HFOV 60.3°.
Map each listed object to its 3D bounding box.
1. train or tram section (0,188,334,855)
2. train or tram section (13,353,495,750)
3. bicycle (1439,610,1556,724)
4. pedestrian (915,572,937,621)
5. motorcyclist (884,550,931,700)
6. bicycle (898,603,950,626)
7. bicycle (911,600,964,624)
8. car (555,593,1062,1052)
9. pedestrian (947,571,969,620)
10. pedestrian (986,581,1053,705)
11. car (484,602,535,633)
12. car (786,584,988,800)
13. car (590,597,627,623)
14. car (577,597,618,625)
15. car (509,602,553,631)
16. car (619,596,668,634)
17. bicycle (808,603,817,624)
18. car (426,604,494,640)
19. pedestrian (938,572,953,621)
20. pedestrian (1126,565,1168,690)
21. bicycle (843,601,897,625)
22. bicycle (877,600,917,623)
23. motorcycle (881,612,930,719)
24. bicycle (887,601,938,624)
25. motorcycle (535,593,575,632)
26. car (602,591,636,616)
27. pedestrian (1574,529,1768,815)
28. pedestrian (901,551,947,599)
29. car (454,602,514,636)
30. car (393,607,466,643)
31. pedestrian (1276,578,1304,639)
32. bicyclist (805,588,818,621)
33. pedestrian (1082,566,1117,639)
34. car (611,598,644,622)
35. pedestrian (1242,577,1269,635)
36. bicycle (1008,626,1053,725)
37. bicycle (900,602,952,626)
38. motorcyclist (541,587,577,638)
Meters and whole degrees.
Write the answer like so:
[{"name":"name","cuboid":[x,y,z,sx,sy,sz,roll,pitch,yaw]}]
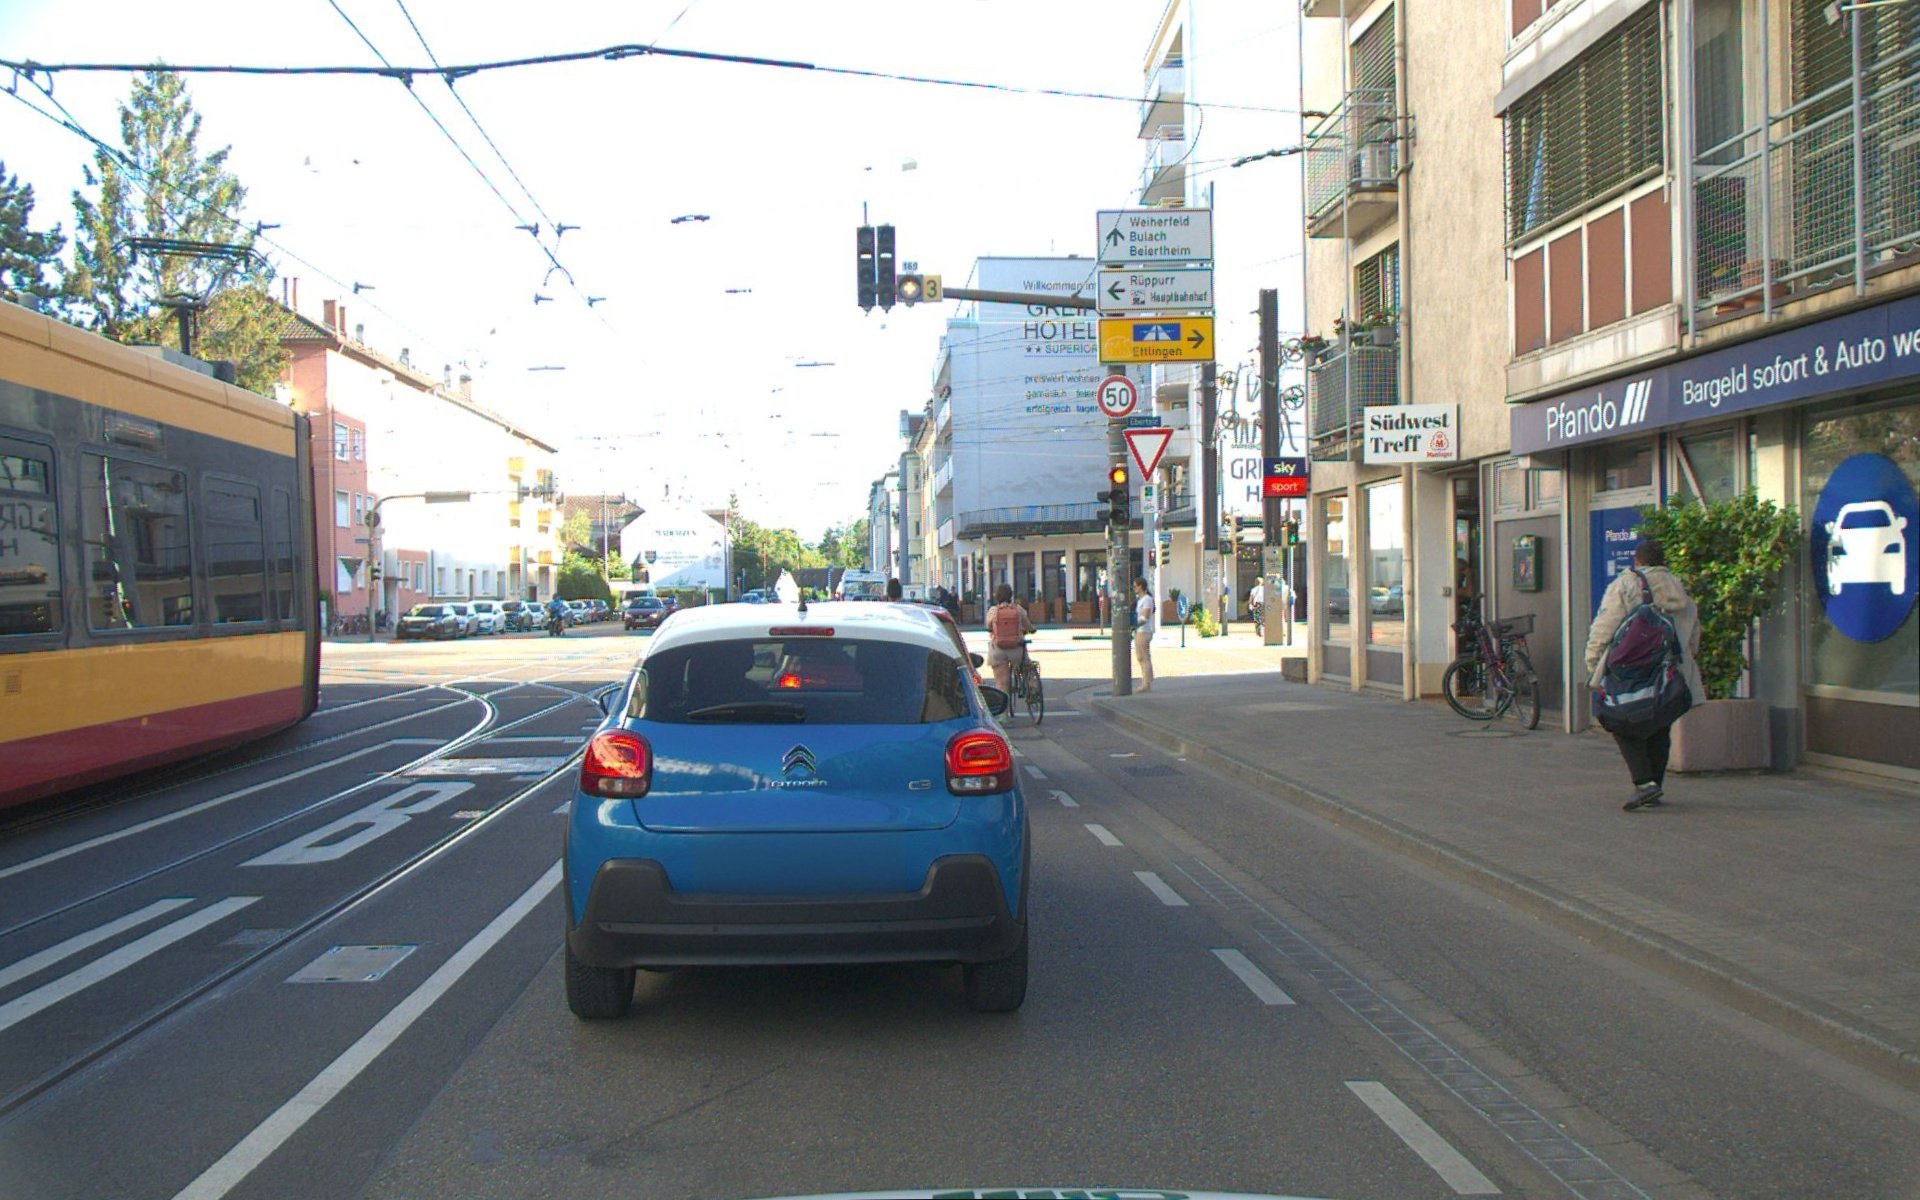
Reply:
[{"name":"train or tram section","cuboid":[-6.787,-0.409,9.289,3.003,3.656,12.613,-1,0,-6]},{"name":"train or tram section","cuboid":[-7.919,-0.447,20.145,2.771,3.694,9.072,1,0,-6]},{"name":"bicycle","cuboid":[5.100,0.612,15.786,0.531,1.016,1.705,1,0,-1]},{"name":"pedestrian","cuboid":[-1.426,-0.135,69.129,0.625,2.049,0.715,1,-1,-37]},{"name":"motorcyclist","cuboid":[-0.614,0.292,19.595,0.516,1.746,0.717,1,-1,-1]},{"name":"bicycle","cuboid":[-1.462,0.579,67.594,2.093,0.917,0.366,1,-1,-10]},{"name":"bicycle","cuboid":[-0.899,0.488,65.978,2.093,0.917,0.366,1,-1,-10]},{"name":"car","cuboid":[-0.515,0.731,7.135,1.620,1.469,3.522,1,0,-1]},{"name":"pedestrian","cuboid":[-0.081,-0.198,70.514,0.698,2.049,0.755,1,-1,-19]},{"name":"pedestrian","cuboid":[0.719,0.520,20.223,0.761,1.486,0.681,1,-1,-1]},{"name":"car","cuboid":[-23.288,0.891,85.690,1.750,1.524,3.997,1,0,-4]},{"name":"car","cuboid":[-0.537,0.659,13.132,1.395,1.493,2.923,-1,0,-1]},{"name":"car","cuboid":[-23.580,0.680,110.979,1.845,1.716,3.997,1,0,-4]},{"name":"car","cuboid":[-23.123,0.701,105.724,1.944,1.716,3.997,1,0,-4]},{"name":"car","cuboid":[-23.758,0.917,91.768,1.699,1.524,3.996,1,0,-5]},{"name":"car","cuboid":[-14.549,0.689,76.199,1.740,1.695,3.853,1,0,-4]},{"name":"bicycle","cuboid":[-6.735,0.616,75.494,0.342,0.919,1.858,1,0,-4]},{"name":"car","cuboid":[-22.290,0.957,73.904,1.778,1.524,4.299,1,0,-1]},{"name":"pedestrian","cuboid":[-0.629,-0.157,70.279,0.565,2.049,0.625,1,-1,-3]},{"name":"pedestrian","cuboid":[2.745,0.397,24.321,0.507,1.814,0.595,1,-1,-3]},{"name":"bicycle","cuboid":[-3.602,0.529,66.139,2.093,0.917,0.366,1,-1,-10]},{"name":"bicycle","cuboid":[-2.645,0.485,69.380,1.751,0.917,0.365,1,-1,34]},{"name":"motorcycle","cuboid":[-0.622,0.733,19.405,0.515,1.159,2.289,1,0,-1]},{"name":"bicycle","cuboid":[-1.965,0.504,68.269,2.093,0.917,0.366,1,-1,-10]},{"name":"motorcycle","cuboid":[-16.255,0.485,66.462,0.905,1.512,3.723,1,0,-4]},{"name":"car","cuboid":[-23.933,0.270,116.246,1.797,1.716,3.997,1,0,-4]},{"name":"pedestrian","cuboid":[4.205,0.415,9.827,0.808,1.620,0.751,1,-1,-1]},{"name":"pedestrian","cuboid":[-1.605,-1.081,73.513,1.953,2.049,3.999,1,0,-1]},{"name":"car","cuboid":[-22.659,0.882,78.911,1.751,1.537,4.148,1,0,-2]},{"name":"car","cuboid":[-21.901,1.011,68.421,1.757,1.446,3.994,1,0,-2]},{"name":"pedestrian","cuboid":[9.359,0.239,46.916,0.736,1.686,0.884,1,-1,13]},{"name":"bicyclist","cuboid":[-6.783,0.195,75.571,0.550,1.503,0.747,1,-1,-5]},{"name":"pedestrian","cuboid":[3.963,0.072,46.985,0.907,2.049,0.759,1,-1,-1]},{"name":"car","cuboid":[-24.298,0.709,120.861,1.809,1.716,3.871,1,0,-4]},{"name":"pedestrian","cuboid":[8.416,0.163,47.061,0.720,1.629,0.749,1,-1,12]},{"name":"bicycle","cuboid":[0.861,0.909,20.533,0.419,1.142,1.998,1,0,-1]},{"name":"bicycle","cuboid":[-1.374,0.572,67.171,2.093,0.917,0.366,1,-1,-10]},{"name":"motorcyclist","cuboid":[-16.225,0.492,66.956,1.162,2.049,1.274,-1,0,-4]}]
